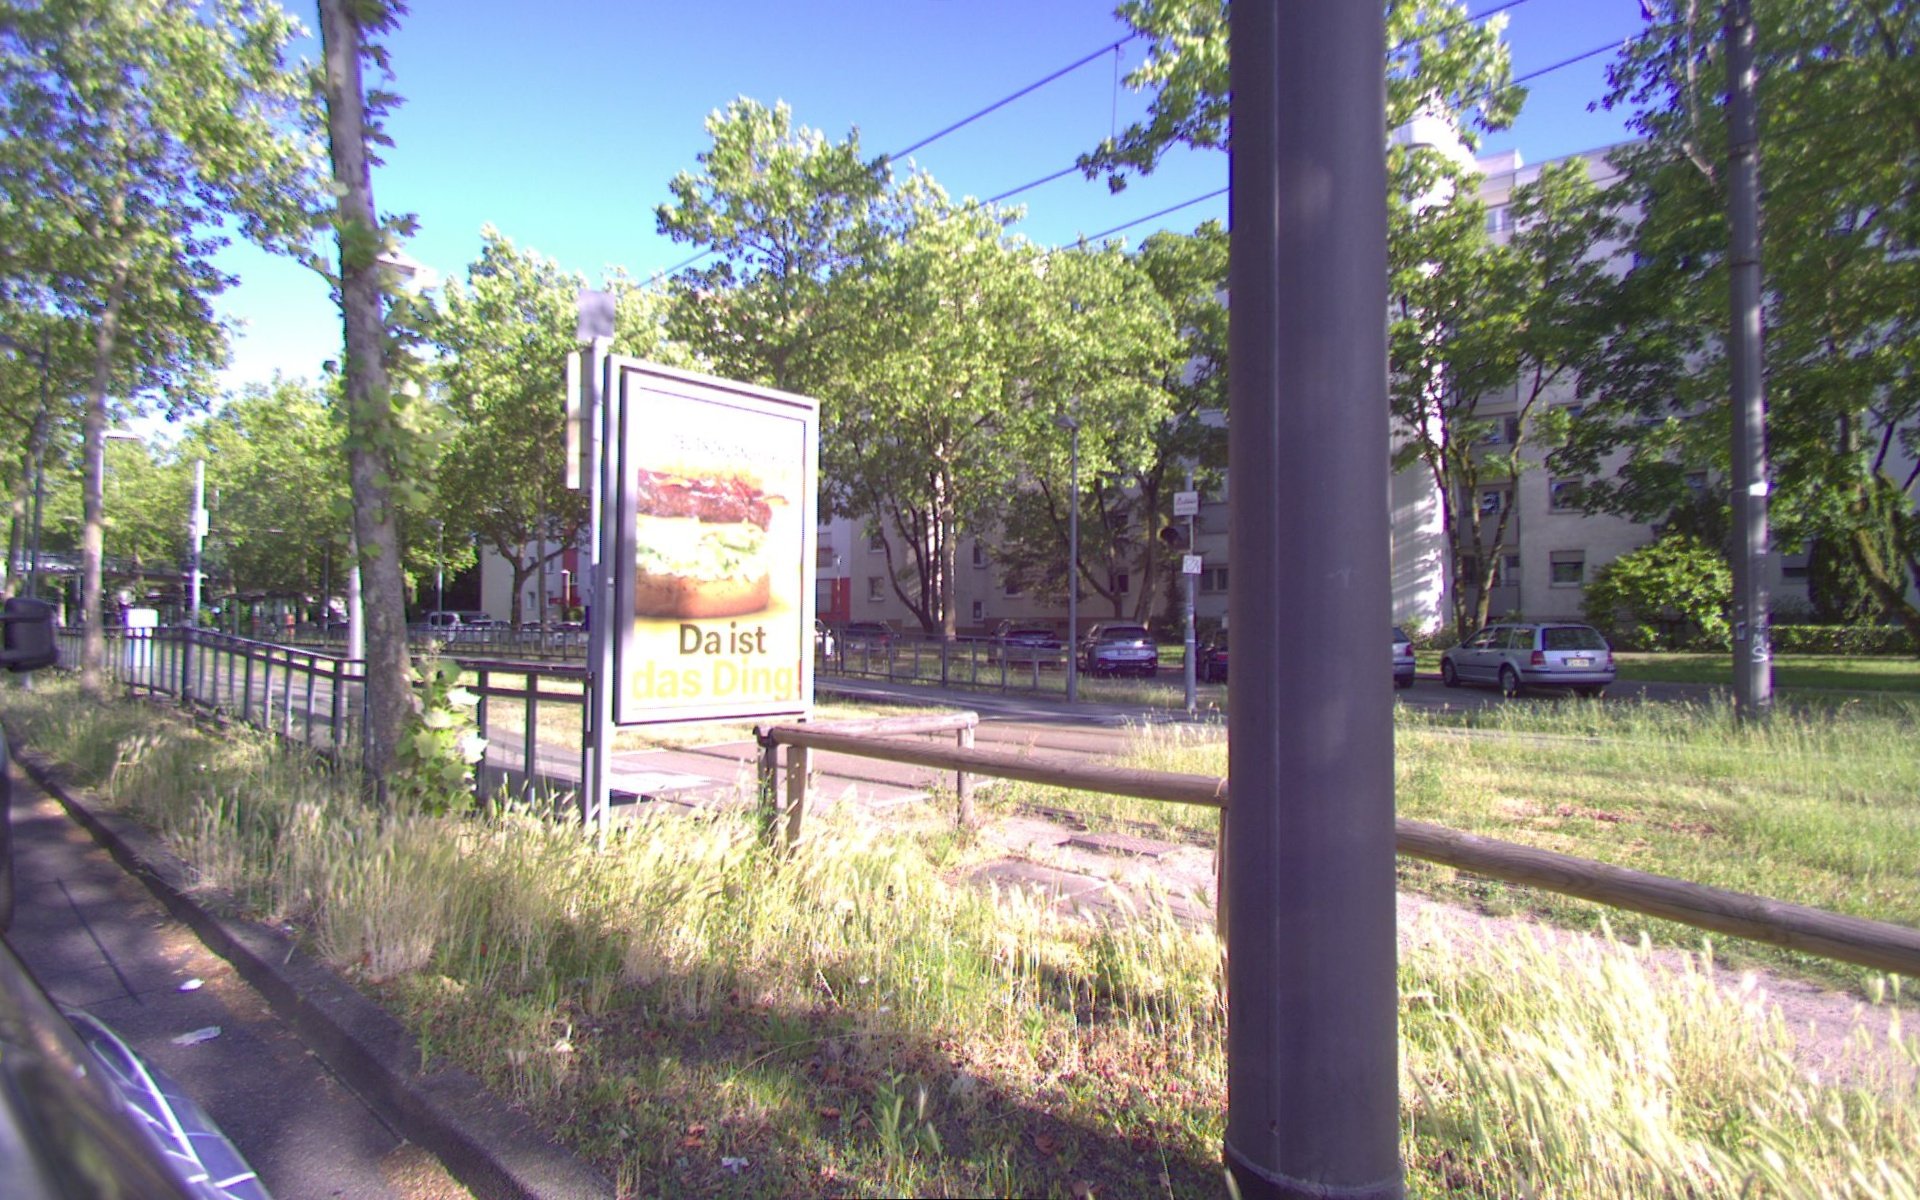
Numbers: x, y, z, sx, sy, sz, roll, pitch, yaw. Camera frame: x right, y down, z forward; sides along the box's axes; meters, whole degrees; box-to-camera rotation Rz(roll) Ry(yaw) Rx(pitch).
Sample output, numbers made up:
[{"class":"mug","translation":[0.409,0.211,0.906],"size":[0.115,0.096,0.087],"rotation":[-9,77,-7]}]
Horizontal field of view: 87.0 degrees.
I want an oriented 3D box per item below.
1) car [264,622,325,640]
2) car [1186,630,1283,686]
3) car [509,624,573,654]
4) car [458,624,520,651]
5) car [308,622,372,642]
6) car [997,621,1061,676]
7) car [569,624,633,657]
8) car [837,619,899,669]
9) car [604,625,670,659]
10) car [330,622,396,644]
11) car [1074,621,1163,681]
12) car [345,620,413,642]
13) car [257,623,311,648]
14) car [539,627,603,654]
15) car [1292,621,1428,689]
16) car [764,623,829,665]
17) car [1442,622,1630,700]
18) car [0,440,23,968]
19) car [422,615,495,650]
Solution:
[{"class":"car","translation":[-52.130,2.399,79.353],"size":[1.898,1.386,4.365],"rotation":[0,-1,1]},{"class":"car","translation":[6.746,1.399,25.196],"size":[1.602,1.256,3.677],"rotation":[0,-1,4]},{"class":"car","translation":[-21.107,1.955,51.123],"size":[1.627,1.460,3.680],"rotation":[0,-1,1]},{"class":"car","translation":[-25.782,2.031,55.508],"size":[1.627,1.407,3.680],"rotation":[0,-1,1]},{"class":"car","translation":[-44.629,2.277,72.973],"size":[1.898,1.386,4.365],"rotation":[0,-1,1]},{"class":"car","translation":[1.950,1.365,29.435],"size":[1.664,1.482,3.680],"rotation":[0,-1,1]},{"class":"car","translation":[-16.666,1.839,47.125],"size":[1.627,1.460,3.680],"rotation":[0,-1,1]},{"class":"car","translation":[-3.091,1.456,34.457],"size":[1.664,1.579,3.679],"rotation":[0,-1,2]},{"class":"car","translation":[-14.067,1.816,44.269],"size":[1.627,1.403,3.679],"rotation":[0,-1,2]},{"class":"car","translation":[-40.267,2.200,68.380],"size":[1.898,1.386,4.365],"rotation":[0,-1,1]},{"class":"car","translation":[4.223,1.344,27.482],"size":[1.894,1.507,3.680],"rotation":[0,-1,2]},{"class":"car","translation":[-38.079,2.032,66.482],"size":[1.898,1.386,4.365],"rotation":[0,-1,1]},{"class":"car","translation":[-40.165,2.073,60.104],"size":[3.757,1.431,1.801],"rotation":[-1,-2,42]},{"class":"car","translation":[-19.030,1.977,49.655],"size":[1.627,1.251,3.680],"rotation":[0,-1,1]},{"class":"car","translation":[9.169,1.218,23.517],"size":[1.679,1.444,3.681],"rotation":[0,-1,1]},{"class":"car","translation":[-5.893,1.569,36.907],"size":[1.664,1.444,3.679],"rotation":[0,-1,2]},{"class":"car","translation":[11.564,1.175,20.618],"size":[1.707,1.444,3.681],"rotation":[0,-1,1]},{"class":"car","translation":[-6.410,0.449,5.064],"size":[5.111,2.131,2.014],"rotation":[-1,-1,41]},{"class":"car","translation":[-28.311,1.822,57.316],"size":[1.898,1.898,4.365],"rotation":[0,-1,1]}]
